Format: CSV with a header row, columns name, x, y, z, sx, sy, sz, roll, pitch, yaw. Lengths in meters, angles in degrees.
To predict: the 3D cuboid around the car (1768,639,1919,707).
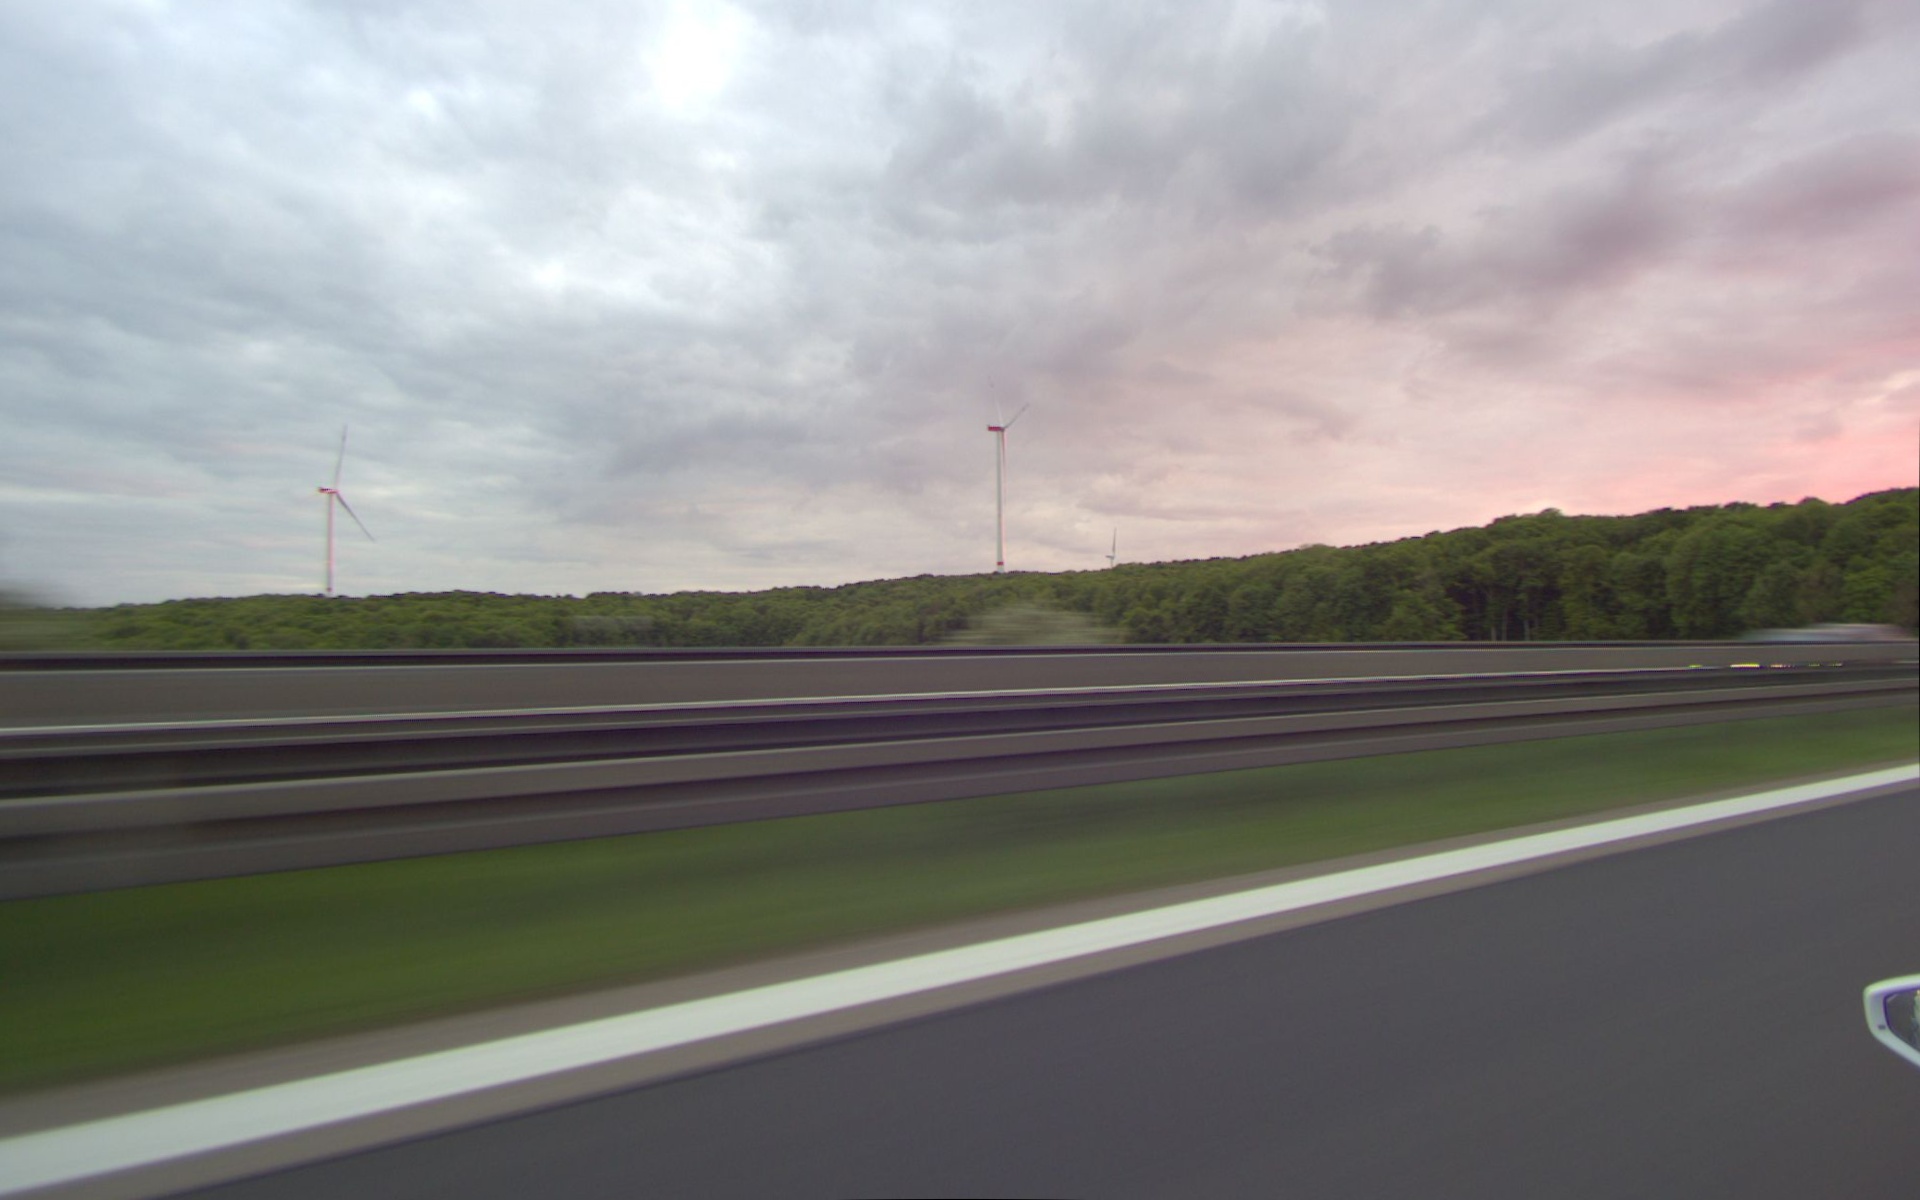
name,x,y,z,sx,sy,sz,roll,pitch,yaw
car,20.380,1.605,23.004,4.199,1.411,1.597,1,-2,-31
